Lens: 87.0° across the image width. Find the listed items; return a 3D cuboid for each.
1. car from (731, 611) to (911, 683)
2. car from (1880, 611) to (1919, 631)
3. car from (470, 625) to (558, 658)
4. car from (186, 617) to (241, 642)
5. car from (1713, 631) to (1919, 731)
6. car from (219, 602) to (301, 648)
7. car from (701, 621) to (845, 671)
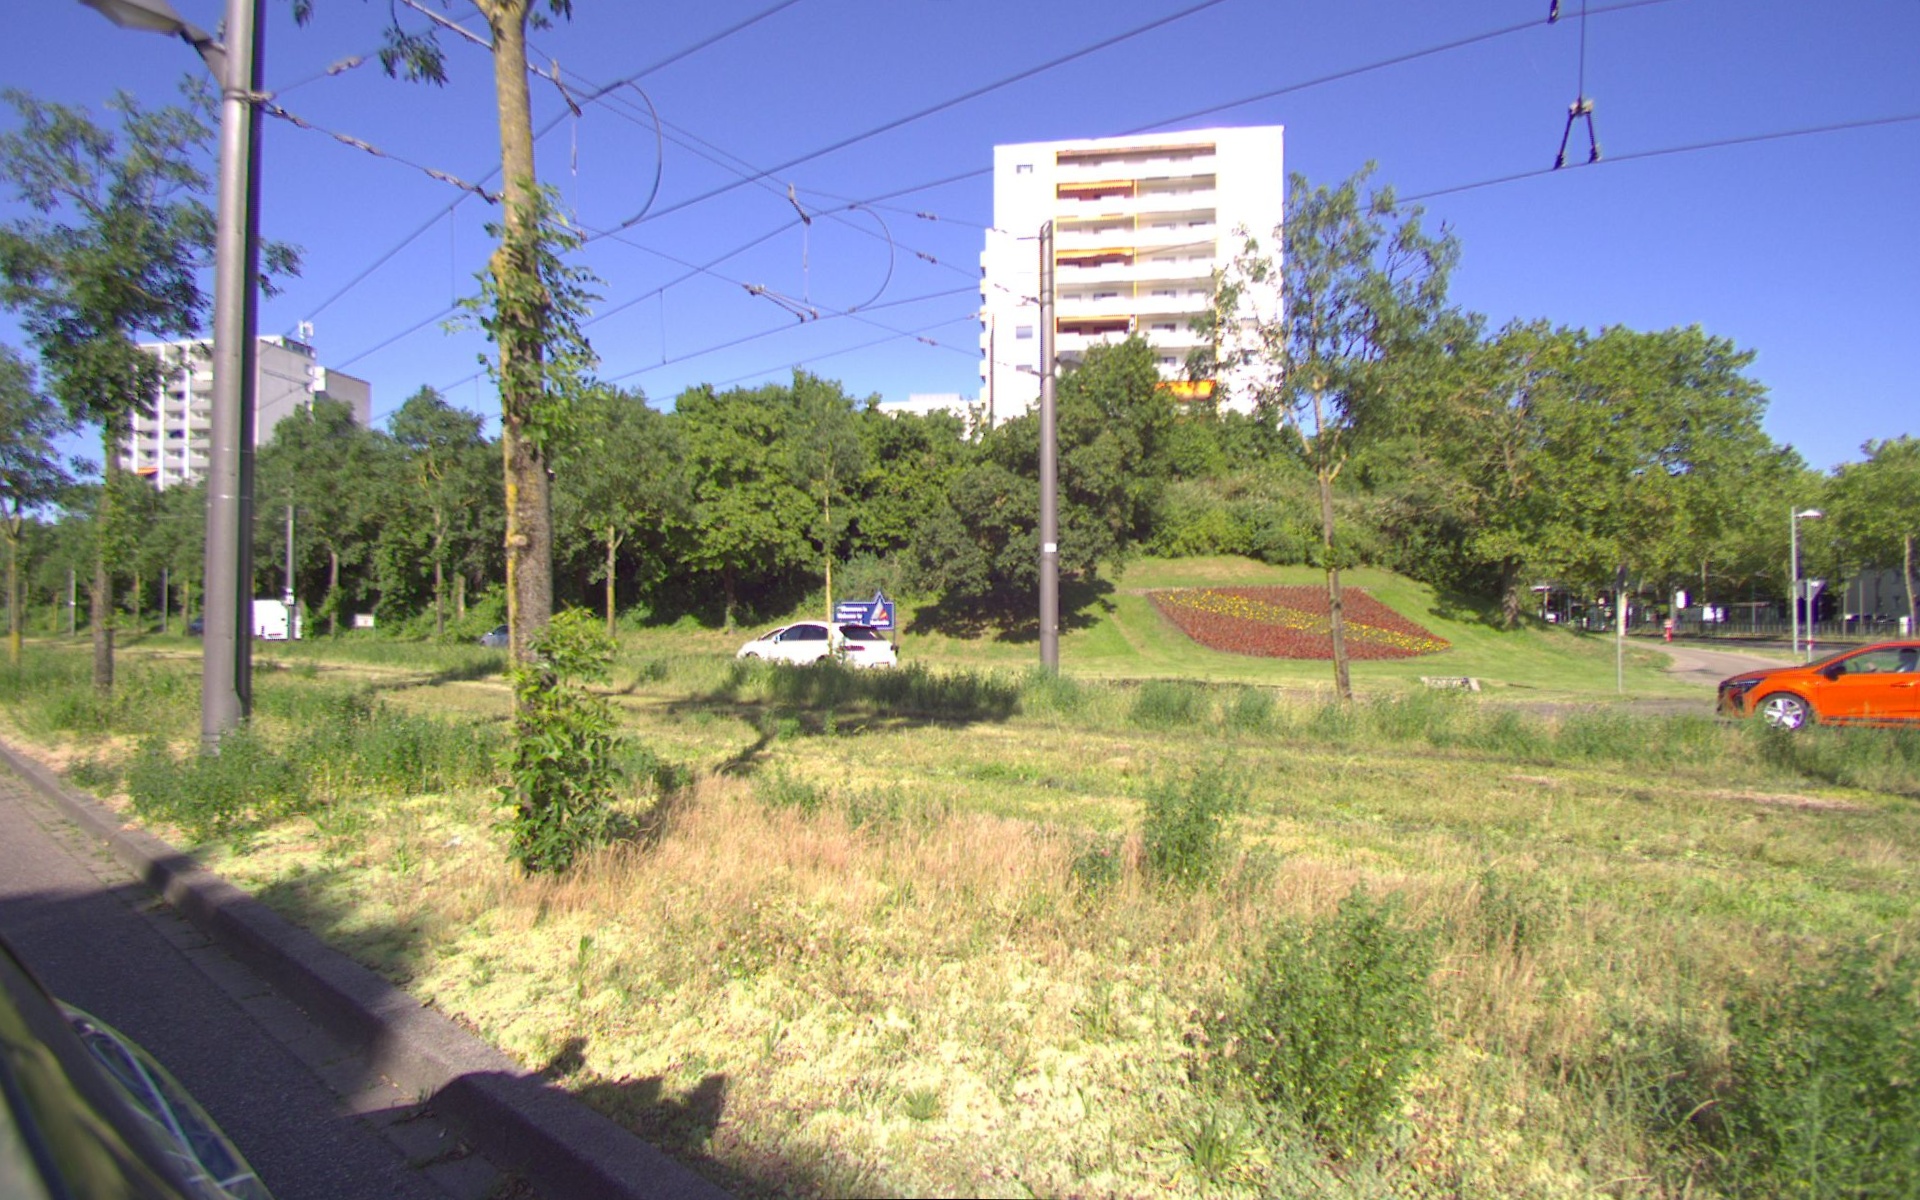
[{"bbox_3d":[-3.583,1.129,25.522,4.653,1.634,1.875,-1,-1,40],"label":"car"},{"bbox_3d":[81.256,1.784,86.128,1.864,1.608,4.010,0,-1,-36],"label":"car"},{"bbox_3d":[-19.010,1.719,43.059,3.994,1.302,1.781,-1,-1,38],"label":"car"},{"bbox_3d":[-50.985,2.007,69.076,5.270,1.596,1.973,-1,-1,41],"label":"car"},{"bbox_3d":[13.476,1.127,14.521,4.174,1.307,1.640,-1,-1,41],"label":"car"},{"bbox_3d":[-37.960,1.323,54.783,6.877,2.387,2.018,-1,-1,41],"label":"car"},{"bbox_3d":[-5.880,1.383,31.516,4.537,1.408,1.881,-1,-1,38],"label":"car"}]
